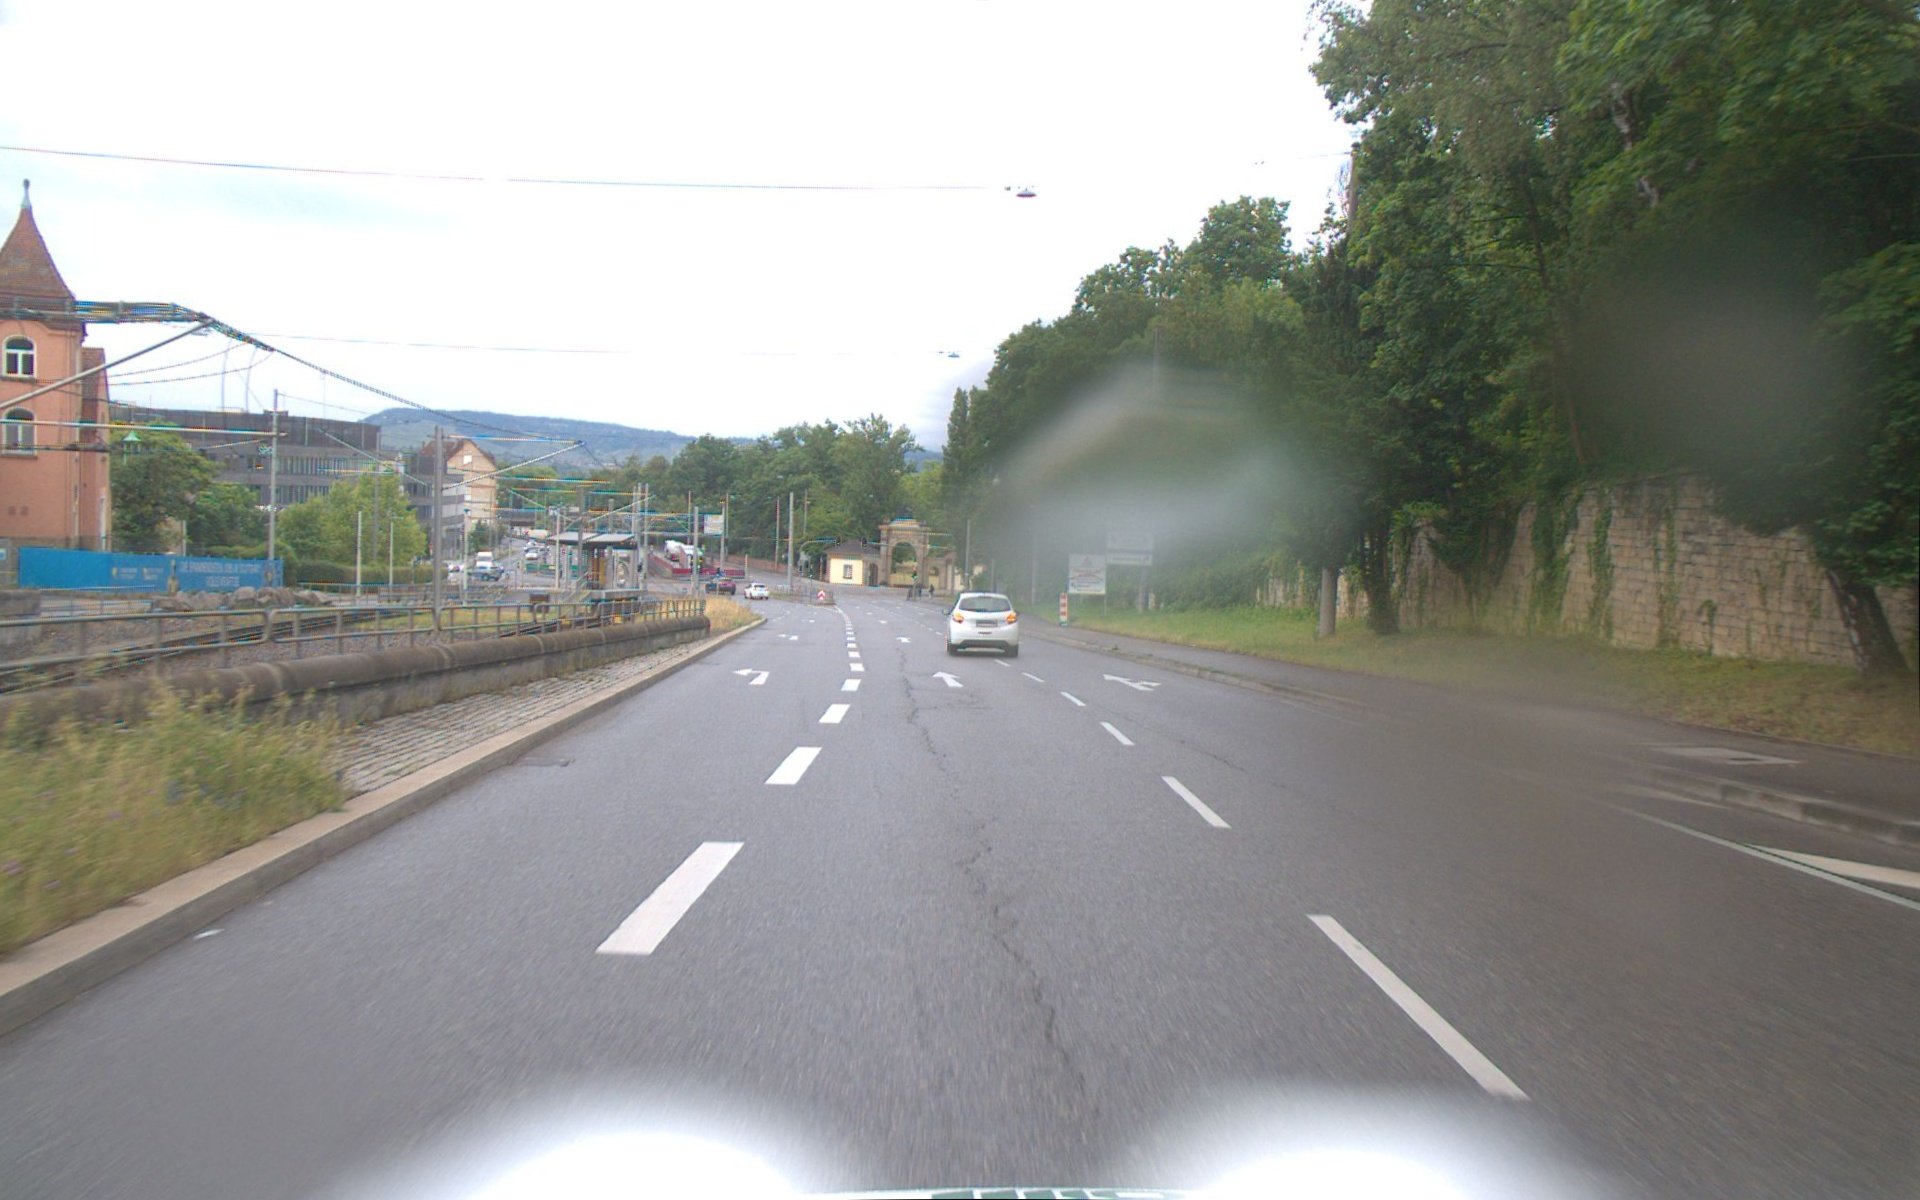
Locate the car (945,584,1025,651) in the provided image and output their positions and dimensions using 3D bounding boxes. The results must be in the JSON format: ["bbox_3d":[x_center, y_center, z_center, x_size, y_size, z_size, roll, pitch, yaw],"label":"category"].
[{"bbox_3d":[0.564,0.400,40.266,1.830,1.537,3.899,0,0,-1],"label":"car"}]

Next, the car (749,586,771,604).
[{"bbox_3d":[-18.756,-0.469,155.485,1.786,1.634,3.998,-1,1,-3],"label":"car"}]

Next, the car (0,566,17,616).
[{"bbox_3d":[-26.085,-0.235,42.733,1.524,1.314,3.557,2,1,-3],"label":"car"}]

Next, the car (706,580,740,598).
[{"bbox_3d":[-23.824,-1.082,166.146,1.973,1.735,3.958,1,1,-31],"label":"car"}]
